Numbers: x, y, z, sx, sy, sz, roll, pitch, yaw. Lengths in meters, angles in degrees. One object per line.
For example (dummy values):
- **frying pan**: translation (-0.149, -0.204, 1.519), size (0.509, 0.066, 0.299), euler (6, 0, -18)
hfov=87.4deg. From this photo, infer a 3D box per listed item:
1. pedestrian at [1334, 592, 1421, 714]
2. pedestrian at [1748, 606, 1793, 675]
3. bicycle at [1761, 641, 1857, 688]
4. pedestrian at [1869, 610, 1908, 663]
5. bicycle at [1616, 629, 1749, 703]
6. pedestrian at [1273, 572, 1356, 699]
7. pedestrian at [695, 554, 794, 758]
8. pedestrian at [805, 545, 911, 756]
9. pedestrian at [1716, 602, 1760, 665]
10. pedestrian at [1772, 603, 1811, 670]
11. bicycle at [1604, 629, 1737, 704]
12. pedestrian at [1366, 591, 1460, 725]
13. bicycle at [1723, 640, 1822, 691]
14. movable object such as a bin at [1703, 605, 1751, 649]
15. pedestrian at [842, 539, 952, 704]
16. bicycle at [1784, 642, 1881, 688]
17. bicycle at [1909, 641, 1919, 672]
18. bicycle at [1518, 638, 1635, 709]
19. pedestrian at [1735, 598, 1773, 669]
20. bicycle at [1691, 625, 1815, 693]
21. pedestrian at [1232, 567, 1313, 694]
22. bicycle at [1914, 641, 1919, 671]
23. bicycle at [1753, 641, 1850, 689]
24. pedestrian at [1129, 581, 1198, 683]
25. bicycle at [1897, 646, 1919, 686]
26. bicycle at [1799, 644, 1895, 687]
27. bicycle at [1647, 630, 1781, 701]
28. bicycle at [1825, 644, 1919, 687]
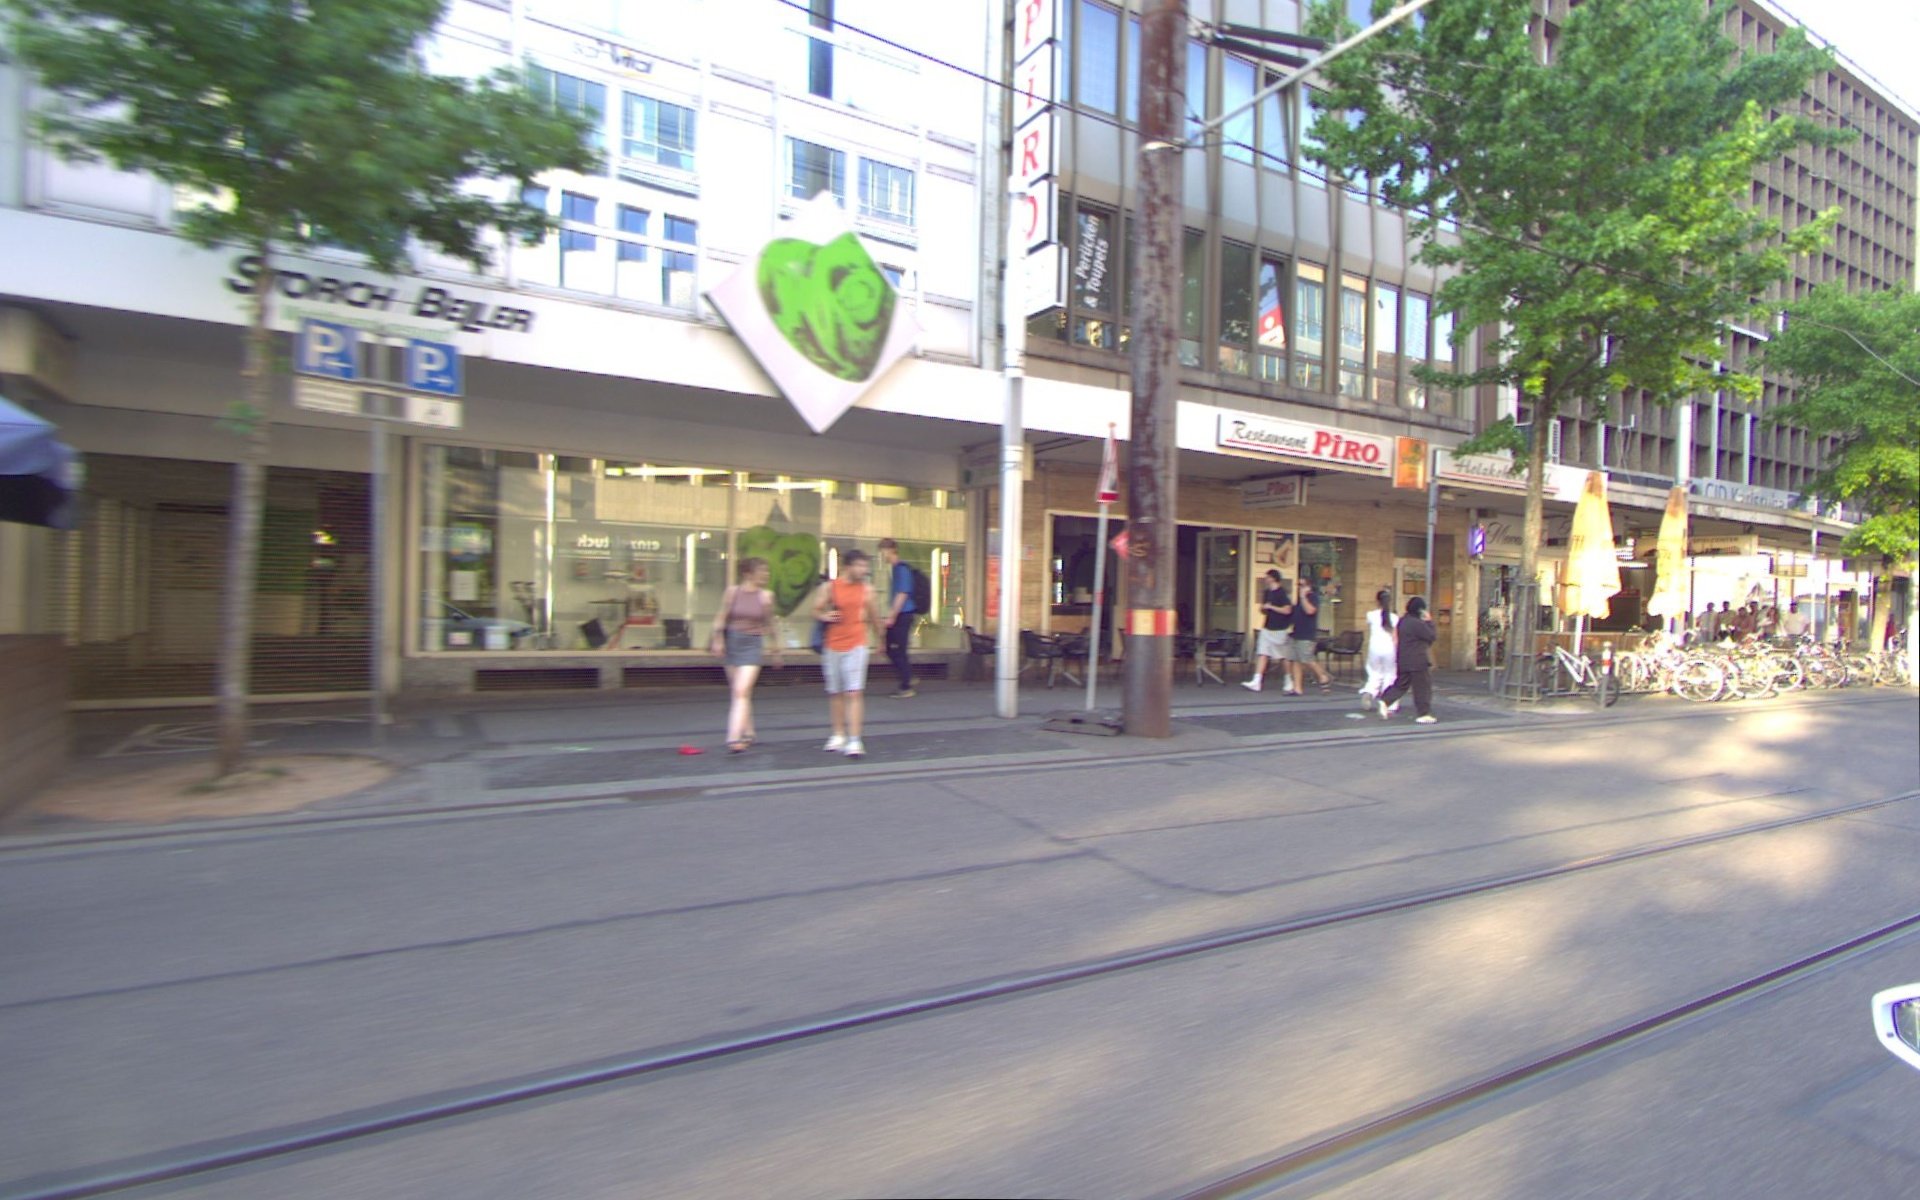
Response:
- **pedestrian**: translation (5.487, 0.682, 13.211), size (0.823, 1.529, 0.619), euler (1, 3, -30)
- **pedestrian**: translation (19.997, 0.982, 24.777), size (0.678, 1.661, 0.709), euler (1, 0, -36)
- **bicycle**: translation (17.715, 1.331, 20.988), size (0.340, 0.852, 1.486), euler (1, 1, -29)
- **pedestrian**: translation (31.749, 1.246, 34.344), size (0.771, 1.785, 0.811), euler (1, 0, -33)
- **bicycle**: translation (12.239, 1.097, 17.074), size (0.373, 1.092, 1.777), euler (1, 2, -34)
- **pedestrian**: translation (5.167, 0.506, 14.638), size (0.922, 1.771, 0.619), euler (1, 3, -30)
- **pedestrian**: translation (-1.835, 0.452, 8.646), size (0.748, 1.660, 0.850), euler (2, 2, -10)
- **pedestrian**: translation (-0.923, 0.426, 8.867), size (0.820, 1.764, 0.850), euler (2, 2, -10)
- **pedestrian**: translation (19.707, 0.841, 25.435), size (0.678, 1.568, 0.709), euler (1, 0, -36)
- **pedestrian**: translation (22.946, 0.998, 27.735), size (0.775, 1.790, 0.536), euler (1, 0, 35)
- **bicycle**: translation (11.864, 1.086, 16.834), size (0.373, 1.092, 1.777), euler (1, 2, -34)
- **pedestrian**: translation (5.586, 0.693, 12.391), size (0.842, 1.571, 0.619), euler (1, 3, -30)
- **bicycle**: translation (16.264, 1.288, 20.131), size (0.341, 0.888, 1.482), euler (1, 2, -36)
- **movable object such as a bin**: translation (19.044, 0.659, 24.943), size (0.972, 1.053, 0.709), euler (1, 0, -37)
- **pedestrian**: translation (-0.791, 0.239, 12.478), size (1.060, 1.949, 0.795), euler (0, 3, -34)
- **bicycle**: translation (18.349, 1.350, 21.149), size (0.340, 0.852, 1.486), euler (1, 1, -29)
- **bicycle**: translation (25.238, 1.481, 25.604), size (0.340, 0.794, 1.486), euler (1, 1, -29)
- **bicycle**: translation (9.511, 1.115, 15.565), size (0.372, 0.943, 1.591), euler (1, 1, -23)
- **pedestrian**: translation (20.638, 0.862, 26.119), size (0.704, 1.790, 0.682), euler (1, 0, 35)
- **bicycle**: translation (15.224, 1.112, 19.344), size (0.372, 1.156, 1.838), euler (1, 1, -29)
- **pedestrian**: translation (4.666, 0.447, 15.016), size (0.922, 1.828, 0.619), euler (1, 3, -30)
- **bicycle**: translation (25.540, 1.489, 25.783), size (0.340, 0.794, 1.486), euler (1, 1, -29)
- **bicycle**: translation (17.384, 1.321, 20.781), size (0.340, 0.852, 1.486), euler (1, 1, -29)
- **pedestrian**: translation (3.188, 0.490, 15.753), size (0.800, 1.546, 0.619), euler (1, 3, -30)
- **bicycle**: translation (20.598, 1.420, 21.672), size (1.393, 0.794, 0.341), euler (1, 2, -39)
- **bicycle**: translation (18.926, 1.389, 21.469), size (0.340, 0.794, 1.486), euler (1, 1, -29)
- **bicycle**: translation (13.293, 1.129, 17.770), size (0.373, 1.092, 1.834), euler (1, 2, -34)
- **bicycle**: translation (19.576, 1.397, 21.561), size (0.340, 0.794, 1.486), euler (1, 1, -29)
